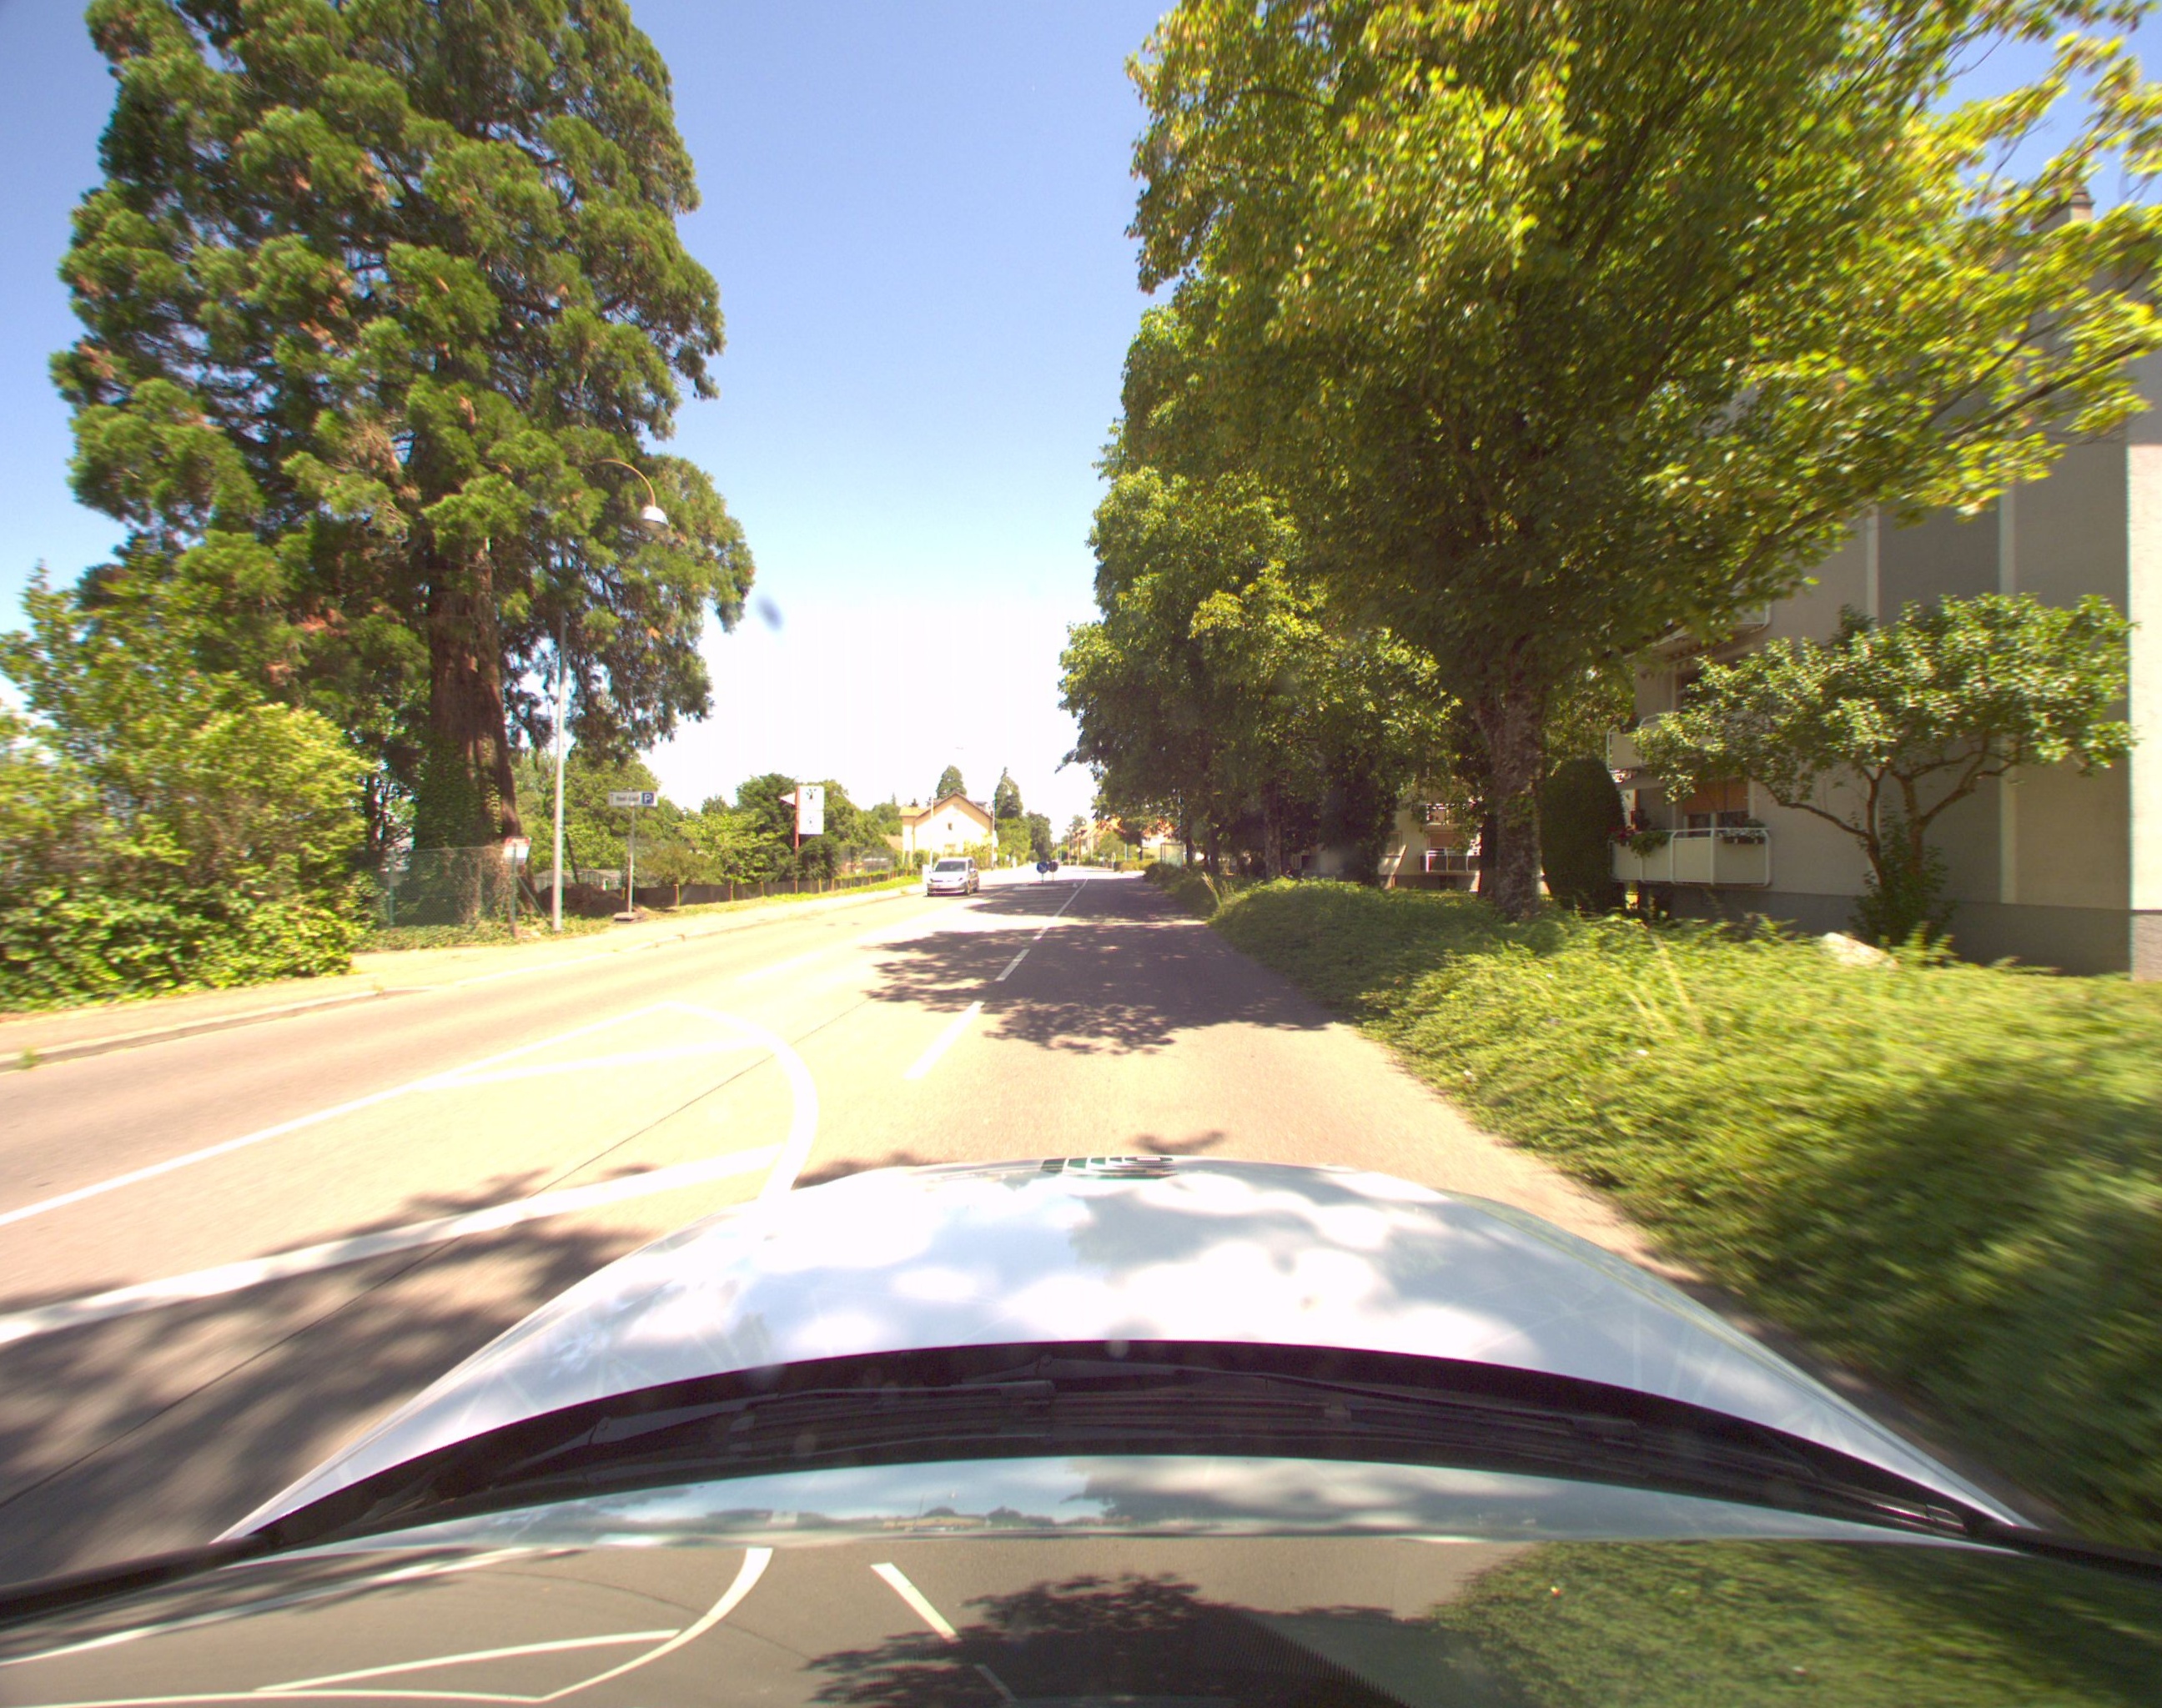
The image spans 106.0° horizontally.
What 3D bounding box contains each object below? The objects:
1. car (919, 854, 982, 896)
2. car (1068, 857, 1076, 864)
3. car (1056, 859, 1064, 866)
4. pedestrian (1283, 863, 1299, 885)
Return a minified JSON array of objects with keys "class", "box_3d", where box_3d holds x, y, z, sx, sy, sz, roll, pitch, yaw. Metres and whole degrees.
[{"class":"car","box_3d":[-5.582,0.871,35.317,1.905,1.689,4.127,-1,0,2]},{"class":"car","box_3d":[-2.423,1.661,212.284,1.808,1.718,4.003,0,0,3]},{"class":"car","box_3d":[-5.557,2.150,212.303,1.808,1.718,4.003,0,0,3]},{"class":"pedestrian","box_3d":[10.908,1.043,42.297,0.700,1.160,0.755,0,-1,6]}]
